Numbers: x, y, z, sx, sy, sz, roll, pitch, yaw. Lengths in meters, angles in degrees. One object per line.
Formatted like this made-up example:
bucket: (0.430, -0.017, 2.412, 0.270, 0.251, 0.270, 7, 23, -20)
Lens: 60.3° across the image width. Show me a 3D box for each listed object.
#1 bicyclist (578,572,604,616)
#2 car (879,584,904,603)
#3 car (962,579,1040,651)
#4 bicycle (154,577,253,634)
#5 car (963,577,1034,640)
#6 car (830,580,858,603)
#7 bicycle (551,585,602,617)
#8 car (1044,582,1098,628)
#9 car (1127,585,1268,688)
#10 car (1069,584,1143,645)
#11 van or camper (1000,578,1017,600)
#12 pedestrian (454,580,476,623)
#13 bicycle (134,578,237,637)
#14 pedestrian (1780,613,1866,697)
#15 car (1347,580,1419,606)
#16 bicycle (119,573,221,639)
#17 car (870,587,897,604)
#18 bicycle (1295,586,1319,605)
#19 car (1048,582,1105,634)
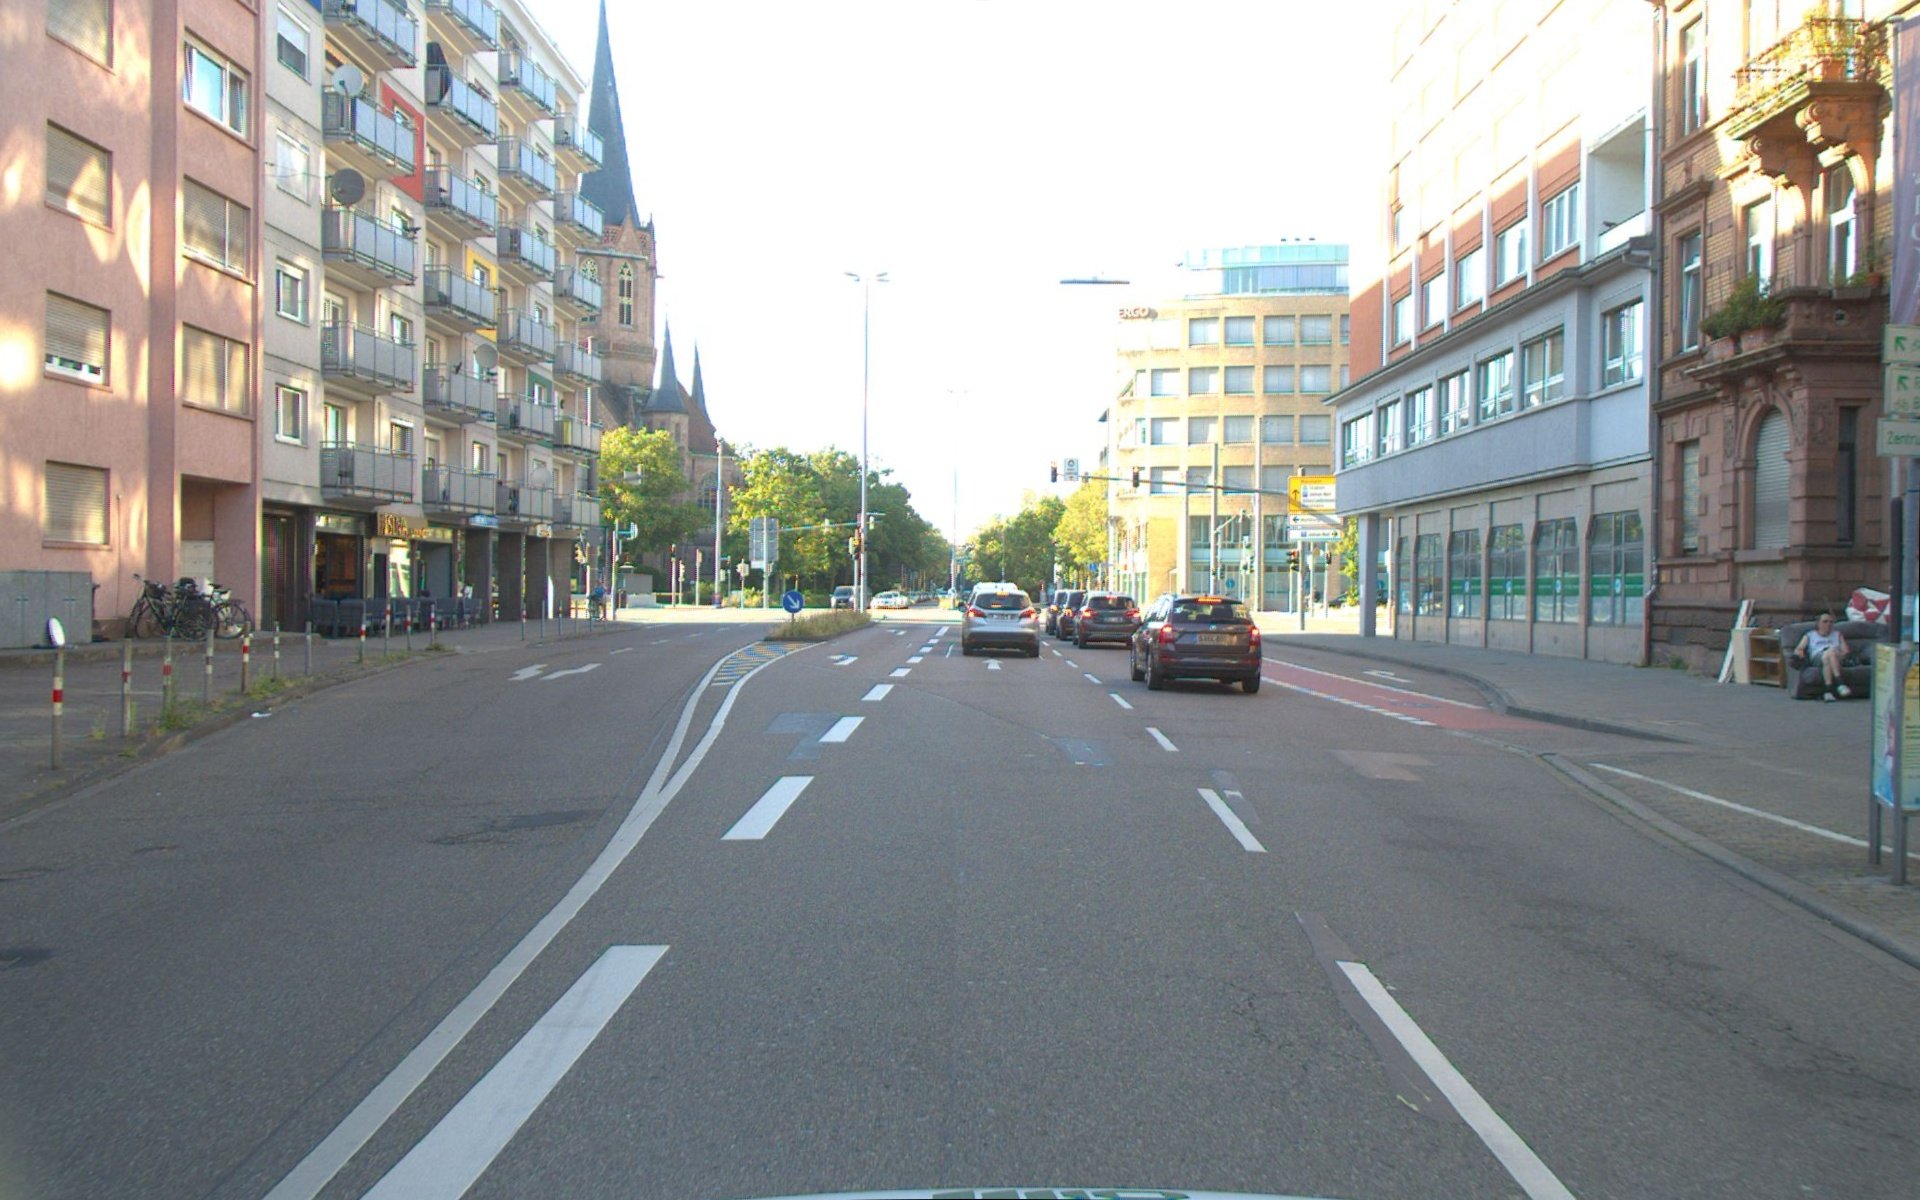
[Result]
bicyclist: (-14.421, -0.240, 64.680, 0.766, 1.689, 0.901, 0, 0, 1)
car: (-5.343, -0.530, 129.372, 1.743, 1.490, 4.001, 0, 1, 1)
car: (0.907, 0.293, 38.329, 1.672, 1.536, 4.309, 1, 1, 0)
bicycle: (-14.643, 0.103, 32.061, 1.641, 1.059, 0.547, 2, 0, -15)
car: (0.978, 0.191, 44.114, 1.767, 1.596, 3.618, 0, 1, -1)
car: (-8.643, -0.617, 123.365, 1.743, 1.676, 4.001, 0, 1, 1)
bicycle: (-14.821, 0.036, 63.907, 1.790, 1.209, 0.734, 0, 0, -1)
car: (3.744, 0.134, 56.301, 1.552, 1.472, 3.648, 2, 1, 0)
car: (3.682, 0.518, 26.273, 1.672, 1.482, 4.159, 0, 1, 0)
car: (3.908, 0.354, 44.768, 1.616, 1.510, 4.240, 1, 1, 0)
van or camper: (5.932, -1.394, 202.422, 1.952, 2.686, 5.352, 0, 1, 2)
pedestrian: (-16.219, 0.039, 54.219, 0.473, 1.408, 0.481, 1, 0, 21)
bicycle: (-14.610, 0.136, 31.232, 1.638, 1.059, 0.549, 2, 0, -7)
pedestrian: (11.358, 0.707, 21.793, 0.676, 1.061, 0.945, 0, 1, 3)
car: (26.830, -0.461, 104.973, 4.141, 1.642, 2.001, 0, 1, 2)
bicycle: (-14.519, 0.117, 30.426, 1.649, 1.180, 0.492, 2, 0, -26)
car: (-5.681, -0.337, 122.800, 1.743, 1.257, 4.001, 0, 1, 1)
bicycle: (23.212, -0.304, 110.676, 1.487, 1.193, 0.475, 0, 0, 7)
car: (3.547, 0.214, 50.669, 1.459, 1.532, 3.478, 0, 1, -1)
